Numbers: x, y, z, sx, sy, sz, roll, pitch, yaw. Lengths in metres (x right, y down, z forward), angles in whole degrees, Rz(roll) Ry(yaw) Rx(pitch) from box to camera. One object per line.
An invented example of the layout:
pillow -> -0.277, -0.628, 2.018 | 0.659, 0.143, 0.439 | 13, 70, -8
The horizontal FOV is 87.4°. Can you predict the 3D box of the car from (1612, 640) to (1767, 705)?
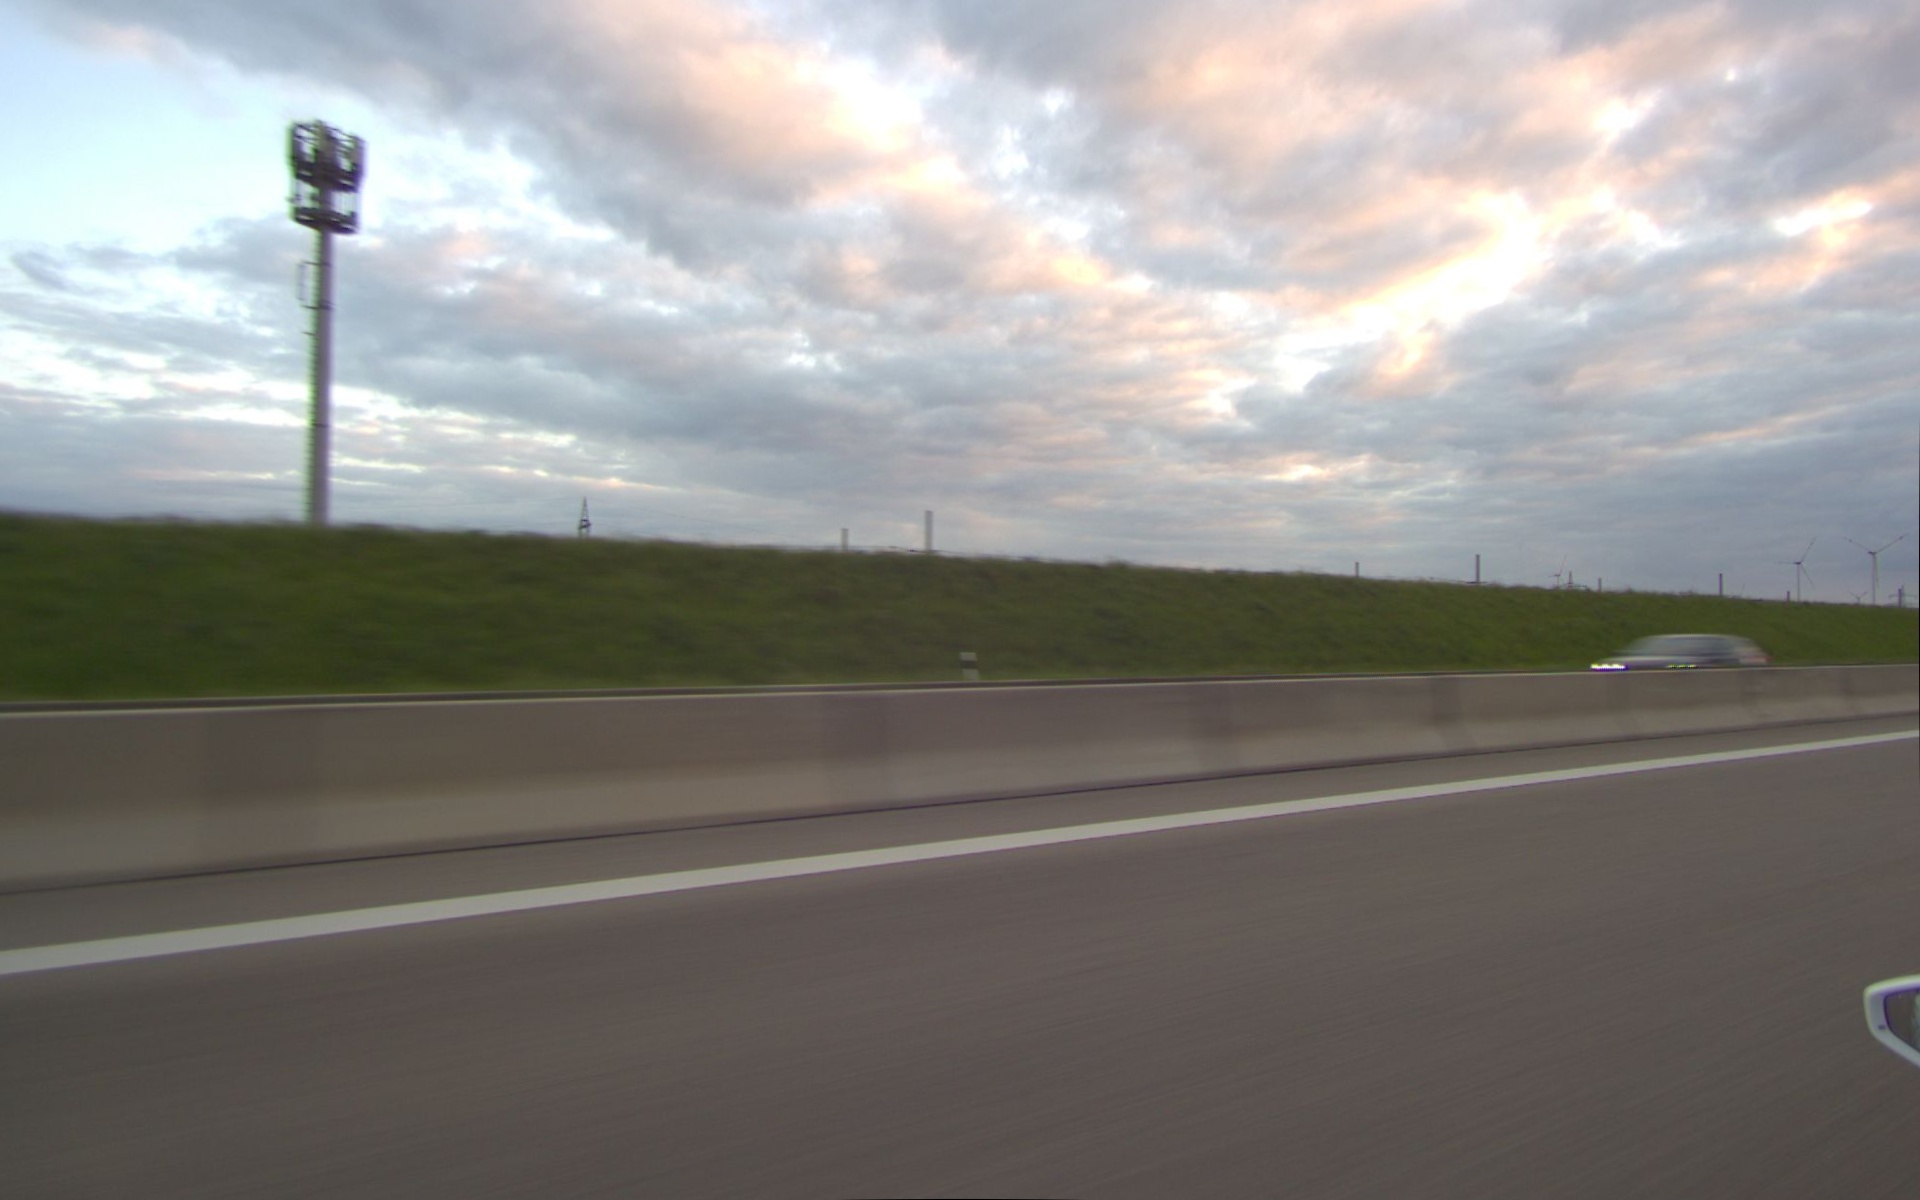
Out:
car -> 16.956, 1.637, 23.313 | 3.729, 1.403, 1.570 | 1, -2, -31
